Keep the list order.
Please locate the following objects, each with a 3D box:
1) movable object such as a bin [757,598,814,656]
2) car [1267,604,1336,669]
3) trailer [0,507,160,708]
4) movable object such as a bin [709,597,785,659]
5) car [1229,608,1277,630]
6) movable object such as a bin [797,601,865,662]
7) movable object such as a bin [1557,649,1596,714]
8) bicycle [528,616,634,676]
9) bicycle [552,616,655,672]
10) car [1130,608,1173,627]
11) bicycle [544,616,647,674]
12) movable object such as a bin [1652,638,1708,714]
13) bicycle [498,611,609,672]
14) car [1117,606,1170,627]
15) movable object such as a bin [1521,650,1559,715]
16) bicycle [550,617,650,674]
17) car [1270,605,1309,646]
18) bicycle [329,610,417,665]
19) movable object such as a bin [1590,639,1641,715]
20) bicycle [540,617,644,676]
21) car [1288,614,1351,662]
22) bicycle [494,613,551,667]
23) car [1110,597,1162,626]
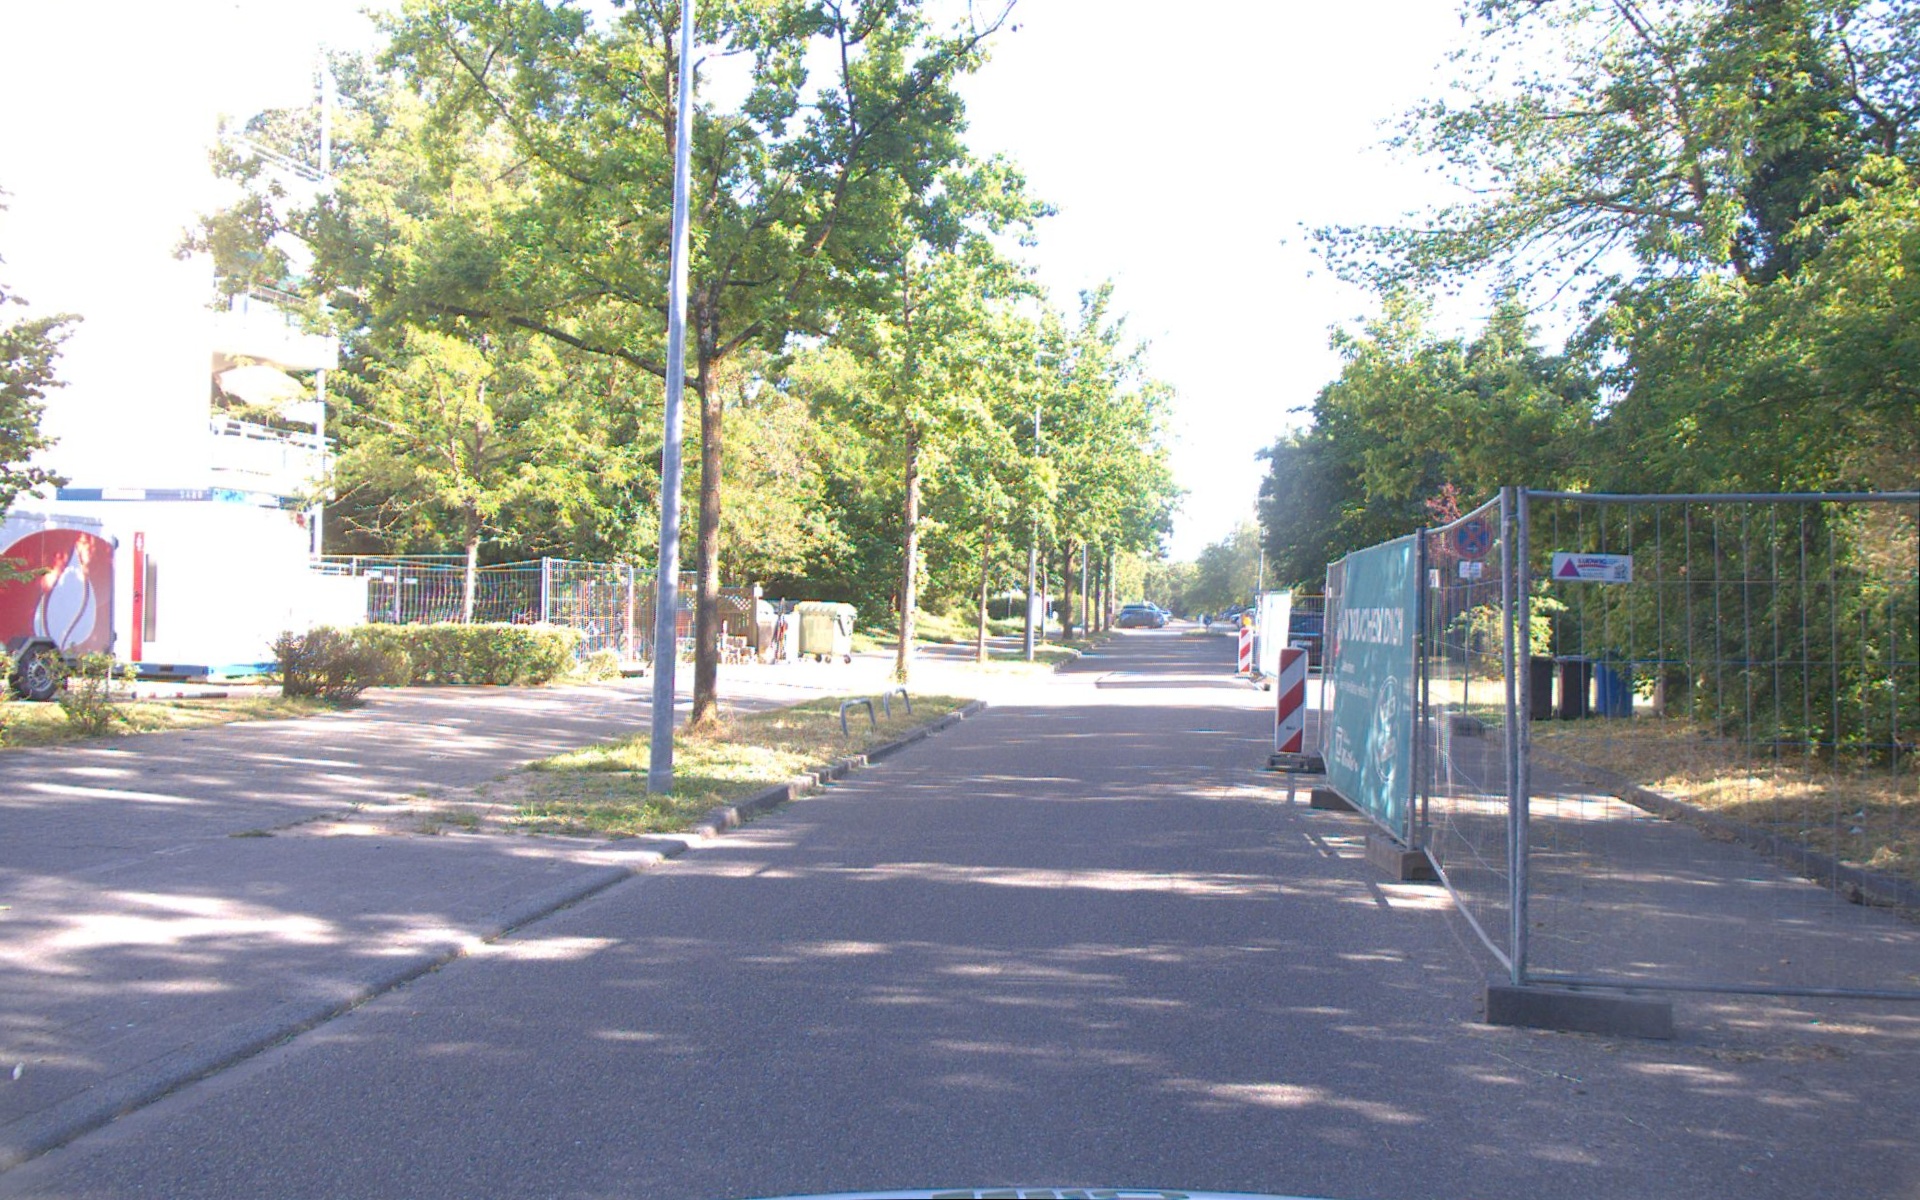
[{"bbox_3d":[-4.489,0.694,42.470,1.126,1.461,1.263,1,0,-25],"label":"movable object such as a bin"},{"bbox_3d":[9.728,1.010,47.014,1.771,1.680,4.424,2,0,12],"label":"car"},{"bbox_3d":[-11.150,0.043,18.250,1.824,2.157,4.349,3,0,12],"label":"trailer"},{"bbox_3d":[-5.107,0.659,39.676,1.248,1.461,1.320,0,-1,37],"label":"movable object such as a bin"},{"bbox_3d":[24.456,1.567,137.857,3.757,1.604,1.689,3,0,15],"label":"car"},{"bbox_3d":[-3.160,0.756,40.578,1.244,1.461,1.181,0,0,25],"label":"movable object such as a bin"},{"bbox_3d":[8.593,1.137,23.061,0.404,0.885,0.484,-1,-1,9],"label":"movable object such as a bin"},{"bbox_3d":[-6.876,0.830,30.031,1.818,1.045,0.400,1,-1,-4],"label":"bicycle"},{"bbox_3d":[-6.855,0.842,31.882,1.877,1.045,0.400,1,-1,-4],"label":"bicycle"},{"bbox_3d":[18.508,1.693,159.850,4.019,1.604,1.960,3,0,11],"label":"car"},{"bbox_3d":[-6.819,0.843,30.978,1.822,1.045,0.400,1,-1,-4],"label":"bicycle"},{"bbox_3d":[9.900,1.045,22.754,0.550,1.017,0.609,-1,-1,9],"label":"movable object such as a bin"},{"bbox_3d":[-7.142,0.733,29.120,1.832,1.045,0.400,1,-1,-4],"label":"bicycle"},{"bbox_3d":[15.953,1.467,143.734,4.227,1.604,2.047,3,0,15],"label":"car"},{"bbox_3d":[8.122,1.146,23.155,0.404,0.885,0.484,-1,-1,9],"label":"movable object such as a bin"},{"bbox_3d":[-6.829,0.862,31.407,1.801,1.045,0.400,1,-1,-4],"label":"bicycle"},{"bbox_3d":[15.498,1.181,77.898,1.588,1.804,3.672,2,0,9],"label":"car"},{"bbox_3d":[-11.527,0.729,32.483,1.659,1.045,0.401,1,-1,14],"label":"bicycle"},{"bbox_3d":[9.087,1.061,22.941,0.507,1.017,0.609,-1,-1,9],"label":"movable object such as a bin"},{"bbox_3d":[-6.781,0.852,30.495,1.802,1.045,0.400,1,-1,-4],"label":"bicycle"},{"bbox_3d":[11.616,1.207,53.615,1.626,1.399,4.158,2,0,8],"label":"car"},{"bbox_3d":[-8.761,0.802,33.157,0.391,1.045,1.702,1,-1,11],"label":"bicycle"},{"bbox_3d":[17.932,1.149,169.000,5.091,2.666,2.294,3,0,4],"label":"car"}]
